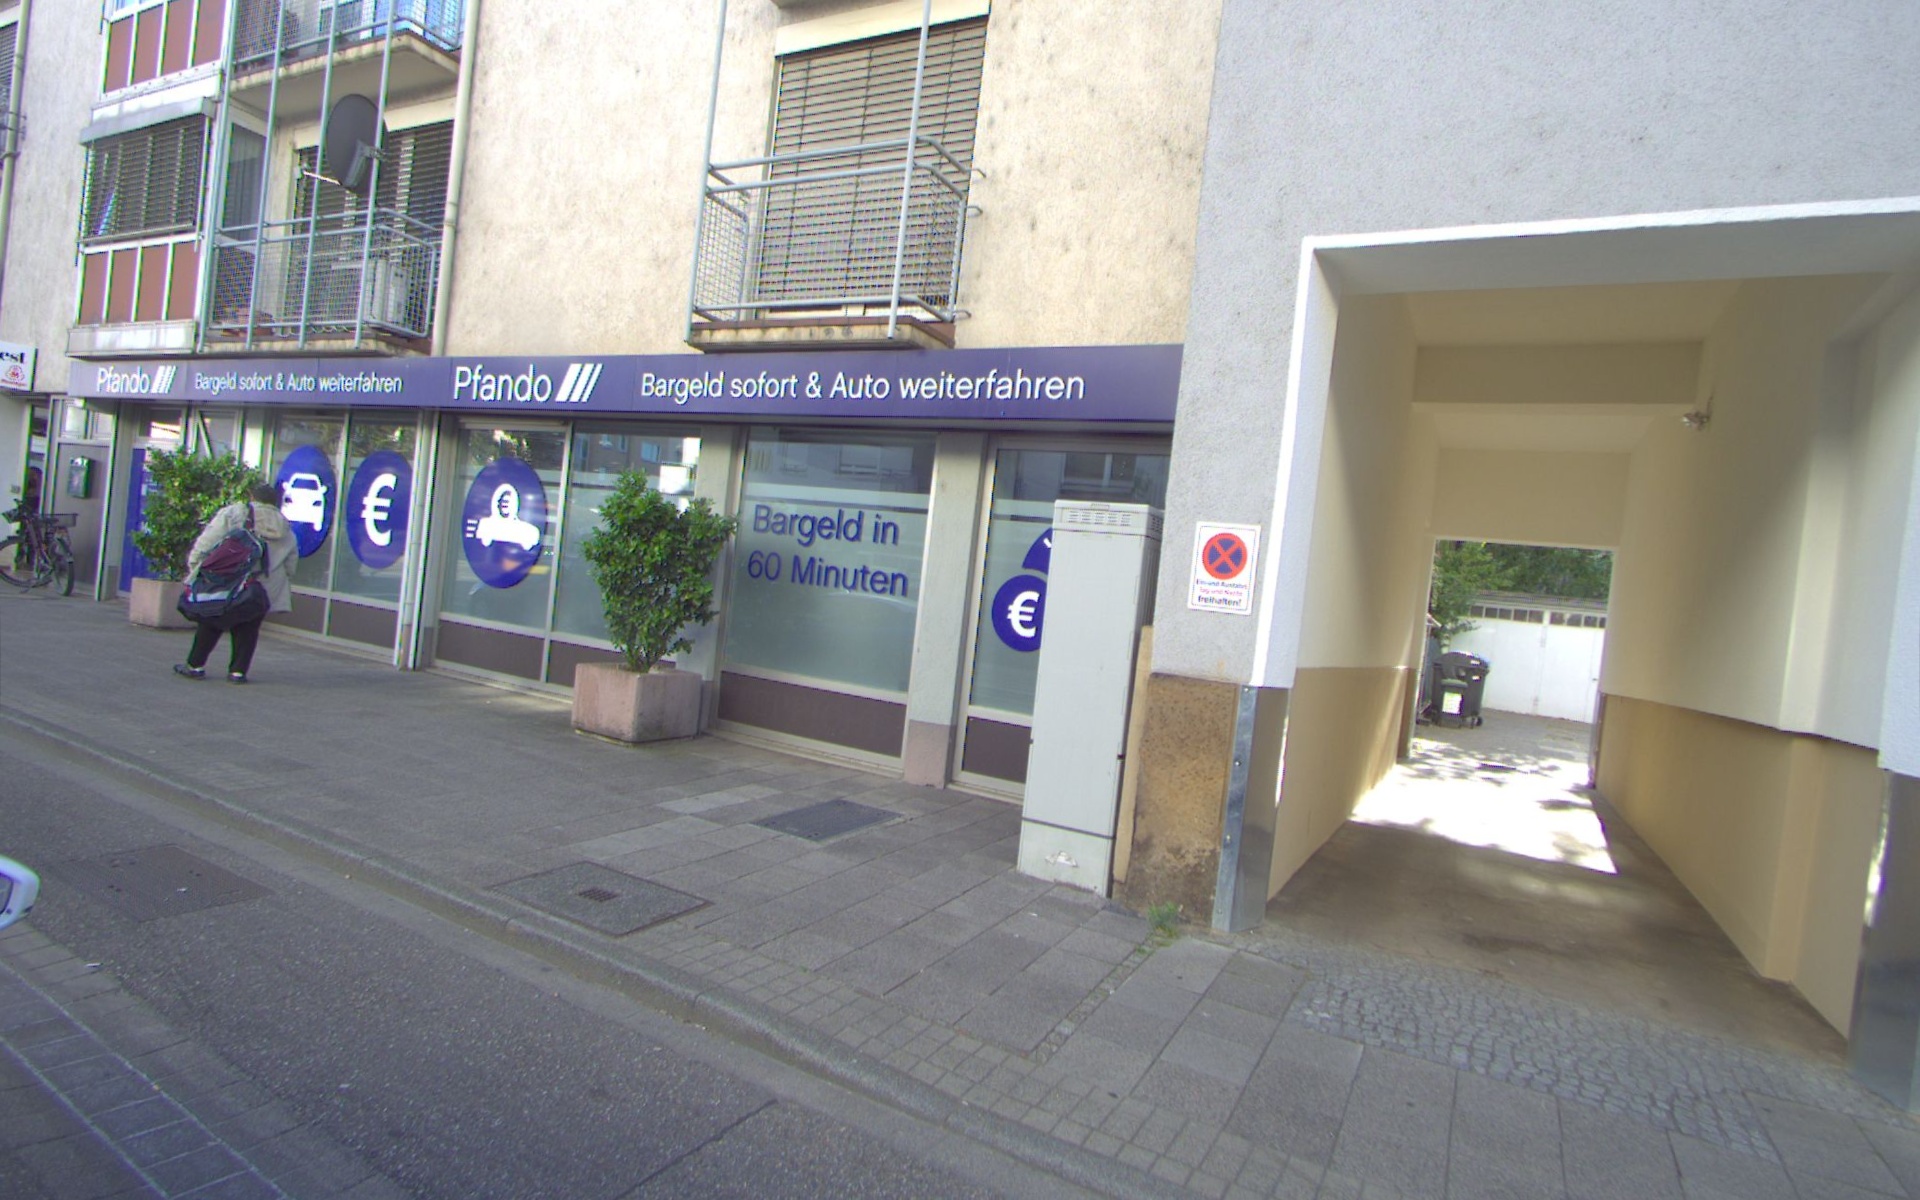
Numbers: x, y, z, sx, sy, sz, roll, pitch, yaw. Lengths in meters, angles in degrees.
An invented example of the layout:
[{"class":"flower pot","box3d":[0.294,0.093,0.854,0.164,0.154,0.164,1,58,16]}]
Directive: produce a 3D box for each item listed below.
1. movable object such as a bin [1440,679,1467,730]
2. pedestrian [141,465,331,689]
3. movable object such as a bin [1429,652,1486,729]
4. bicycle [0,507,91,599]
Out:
[{"class":"movable object such as a bin","box3d":[9.500,2.004,19.354,0.365,0.920,0.420,7,2,28]},{"class":"pedestrian","box3d":[-5.659,-0.162,7.886,0.738,1.611,0.827,6,-1,31]},{"class":"movable object such as a bin","box3d":[9.962,1.791,20.147,0.873,1.411,0.758,7,2,28]},{"class":"bicycle","box3d":[-11.826,-0.615,12.850,1.678,1.010,0.543,6,-1,32]}]
